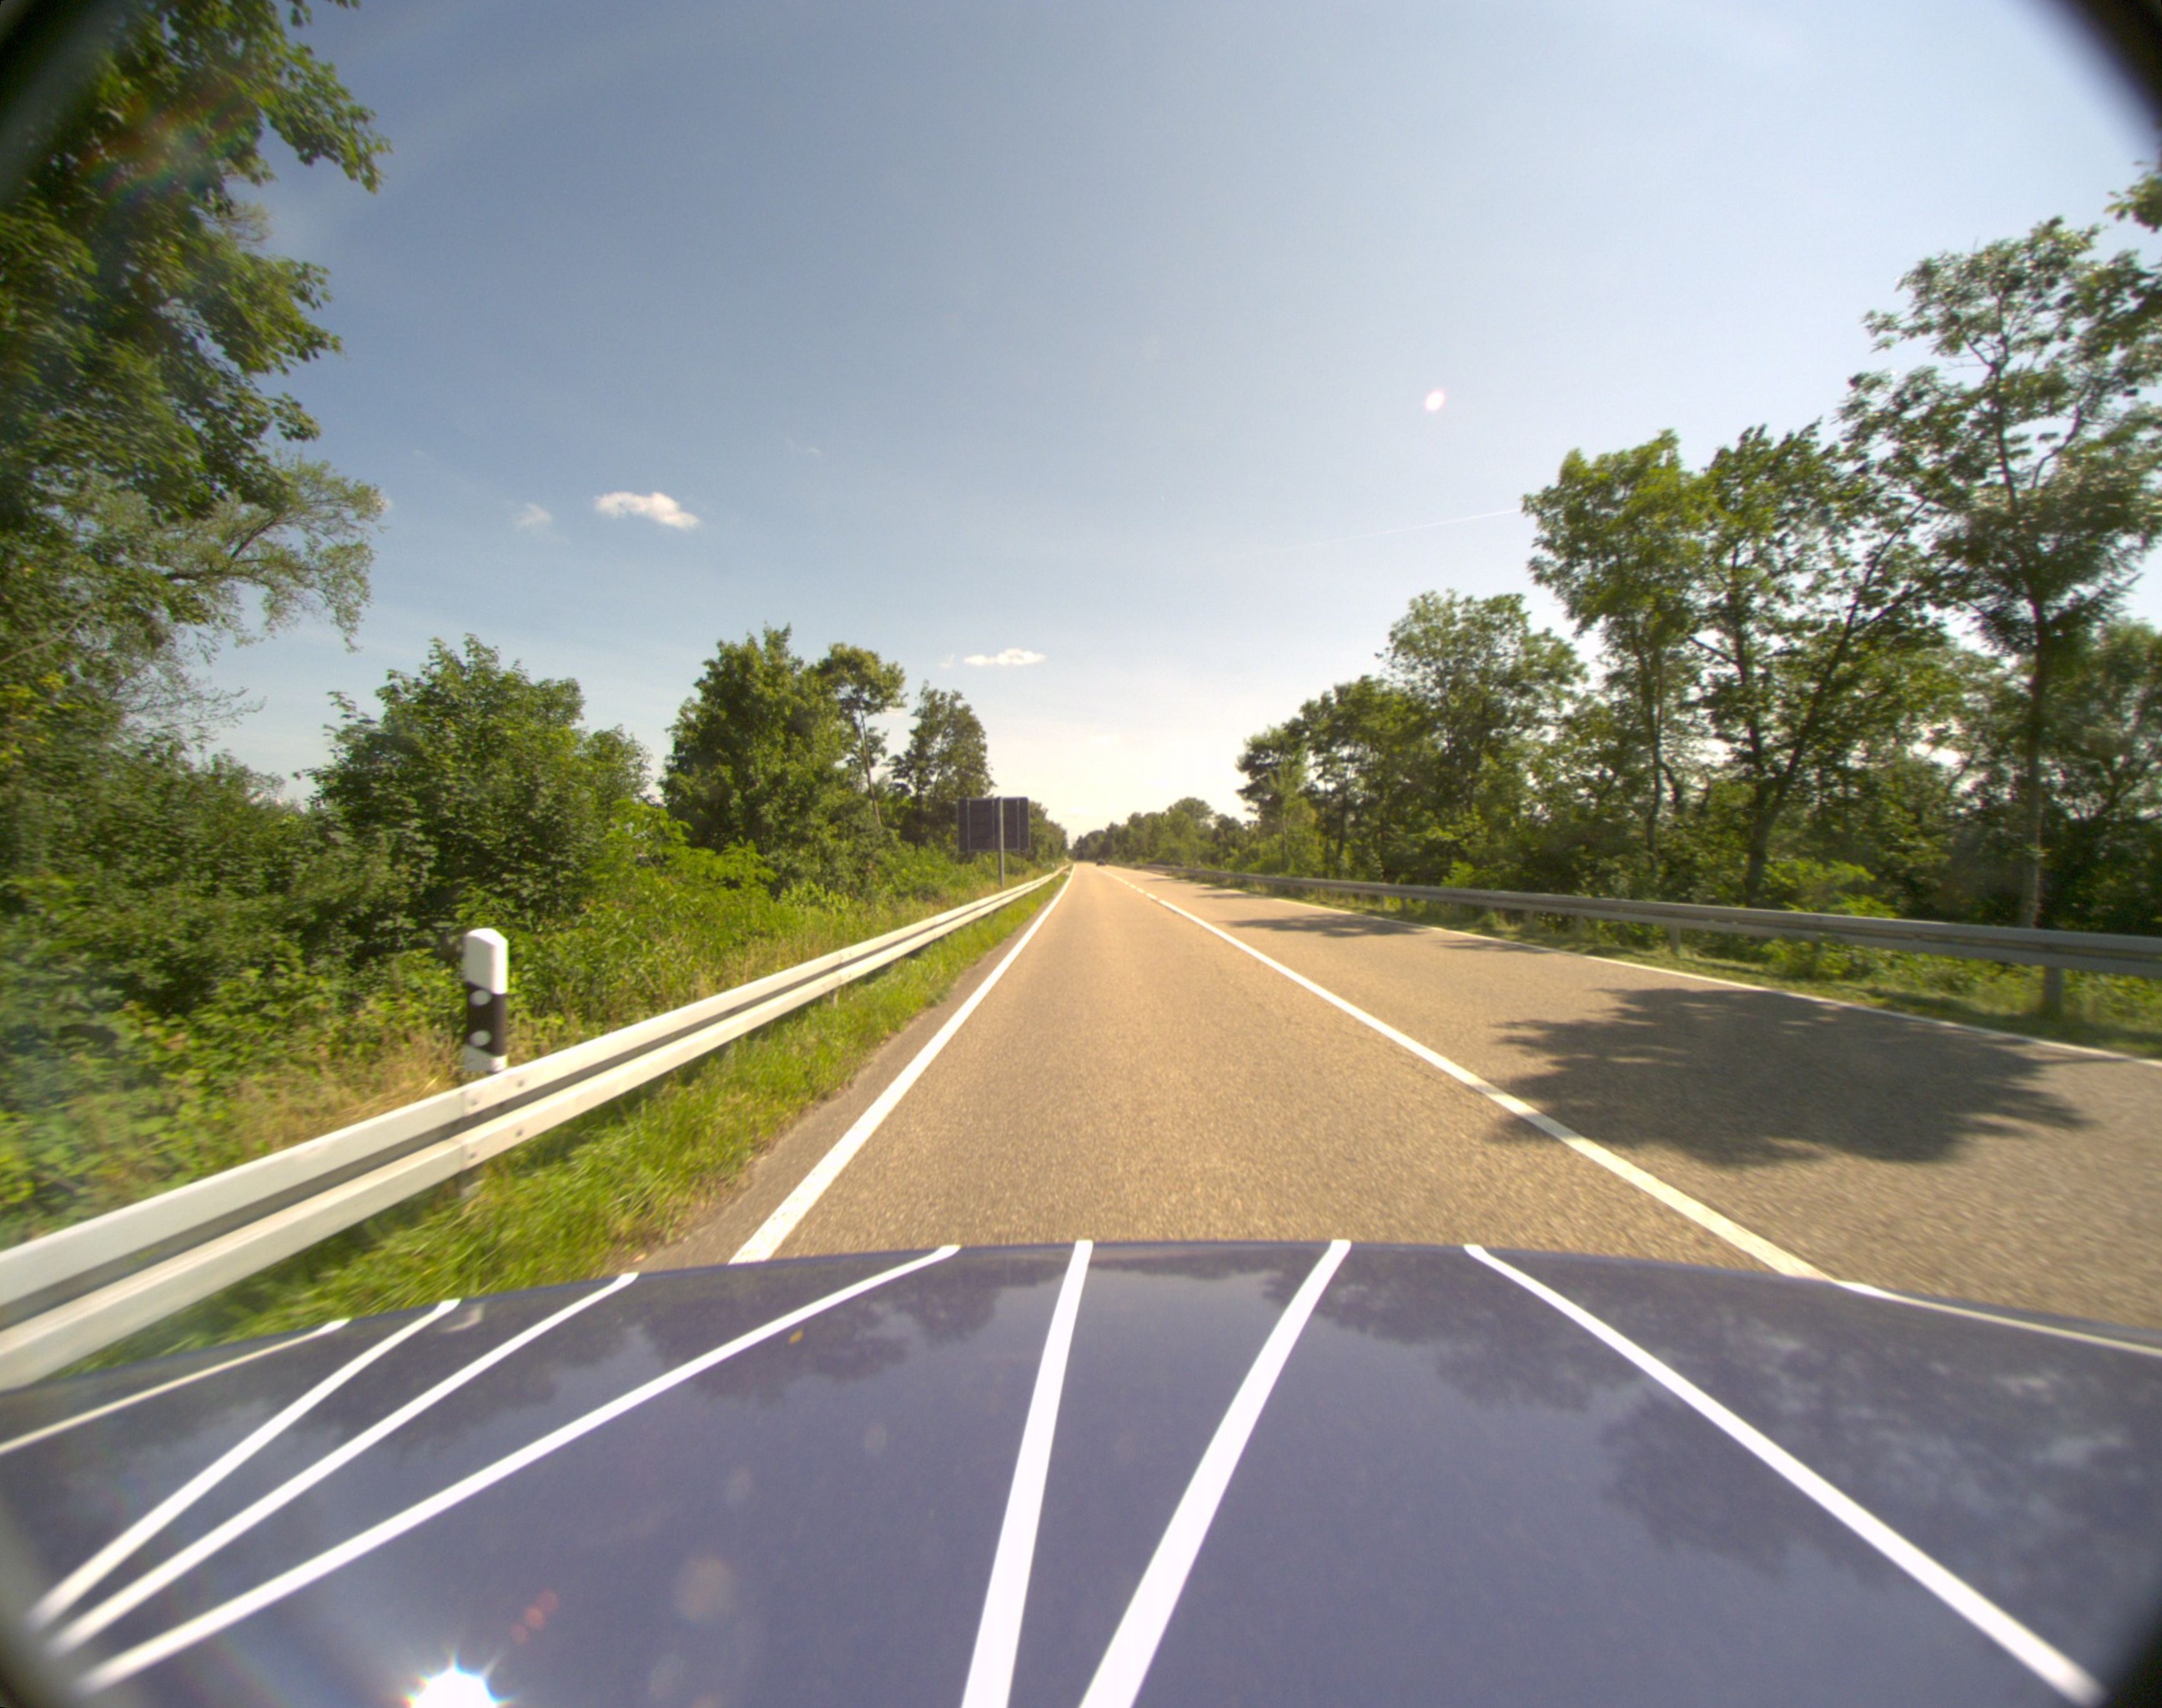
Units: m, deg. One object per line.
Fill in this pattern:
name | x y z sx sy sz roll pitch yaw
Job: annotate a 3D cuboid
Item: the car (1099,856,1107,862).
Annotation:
car | 4.780 1.088 165.901 1.750 1.416 4.677 -1 0 0
